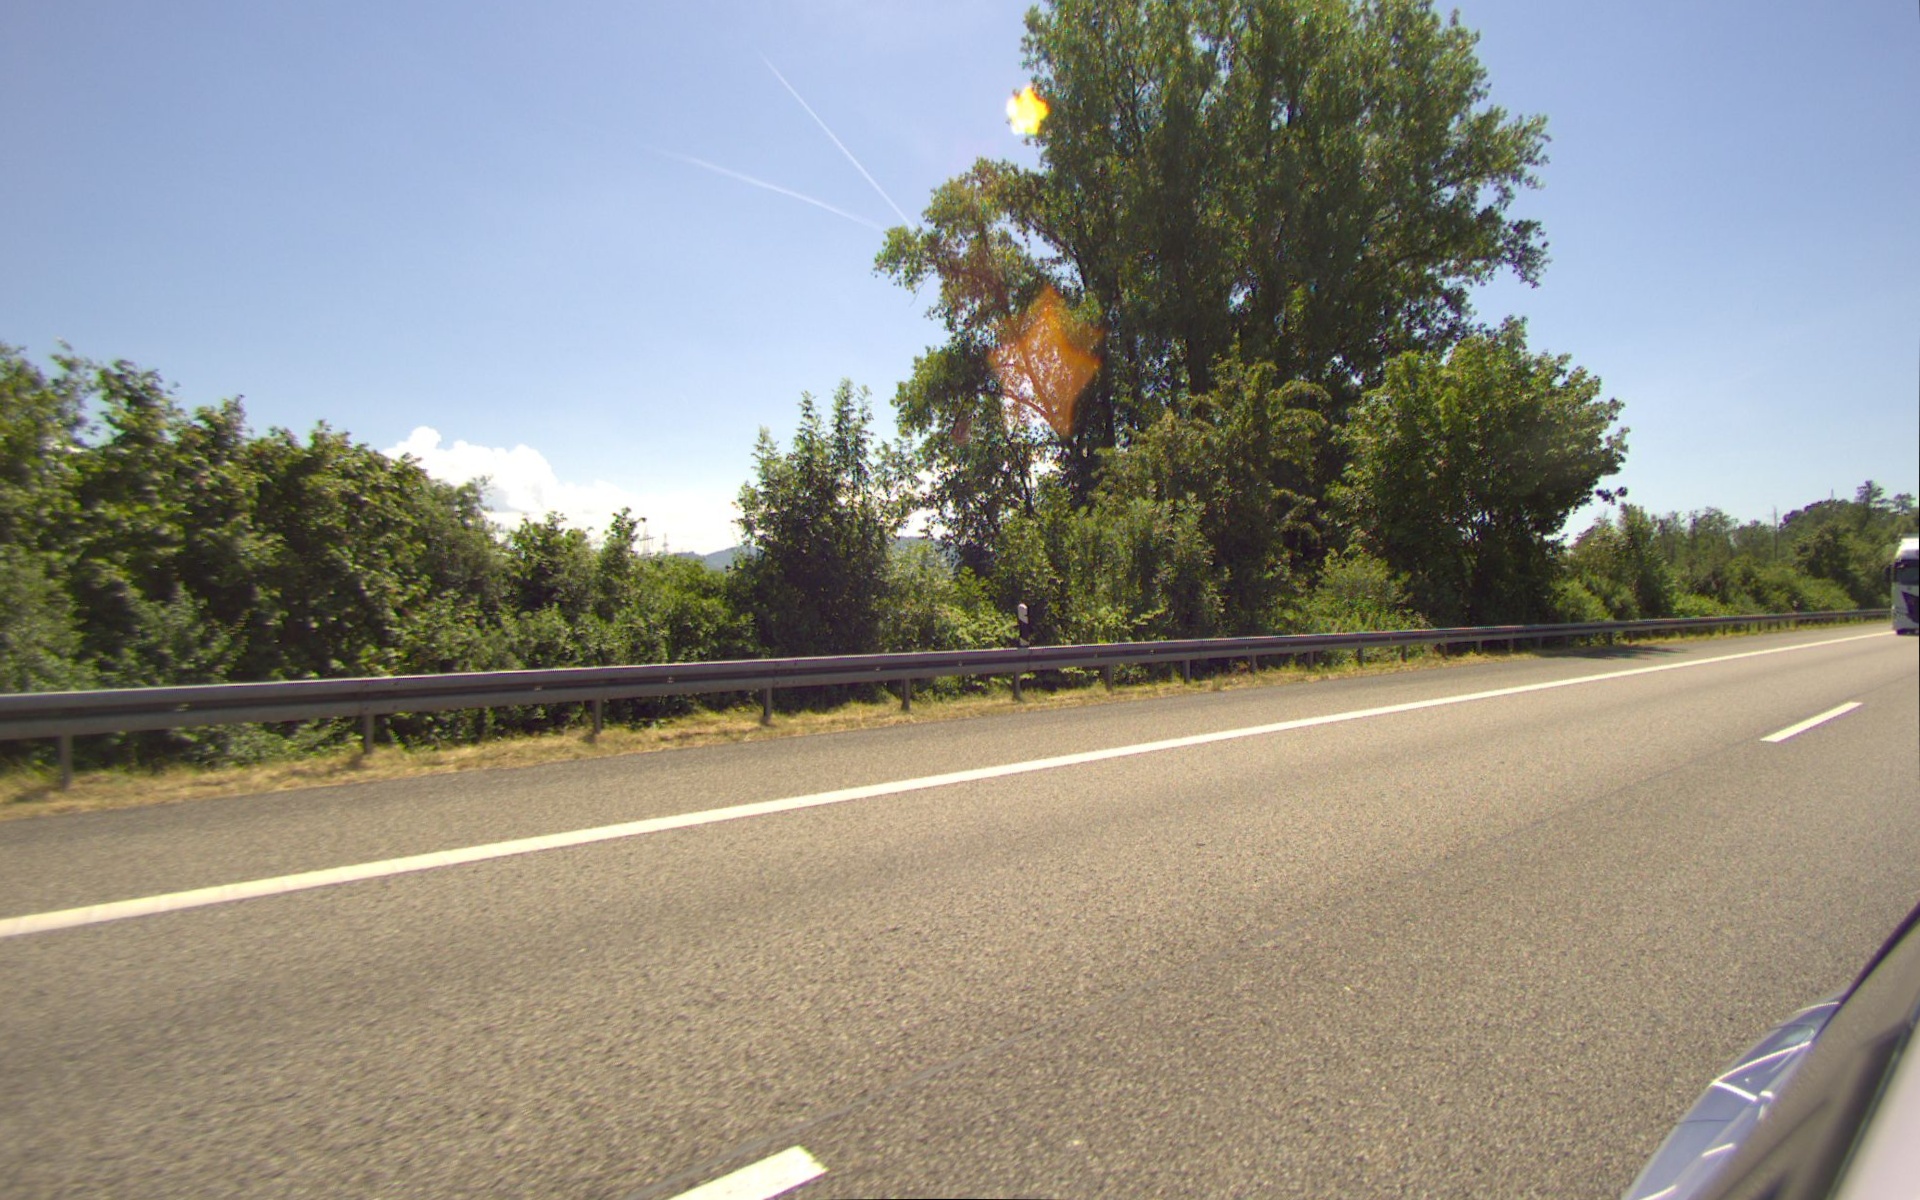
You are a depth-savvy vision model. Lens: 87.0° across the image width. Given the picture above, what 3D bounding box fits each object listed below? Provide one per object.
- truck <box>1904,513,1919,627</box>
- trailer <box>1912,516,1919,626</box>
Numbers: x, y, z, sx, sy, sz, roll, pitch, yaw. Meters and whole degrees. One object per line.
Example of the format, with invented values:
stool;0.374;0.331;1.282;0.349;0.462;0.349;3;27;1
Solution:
truck;40.635;-1.201;41.190;5.472;4.528;2.541;-1;0;-39
trailer;45.633;-1.267;45.350;13.906;4.528;2.541;-1;1;-39
